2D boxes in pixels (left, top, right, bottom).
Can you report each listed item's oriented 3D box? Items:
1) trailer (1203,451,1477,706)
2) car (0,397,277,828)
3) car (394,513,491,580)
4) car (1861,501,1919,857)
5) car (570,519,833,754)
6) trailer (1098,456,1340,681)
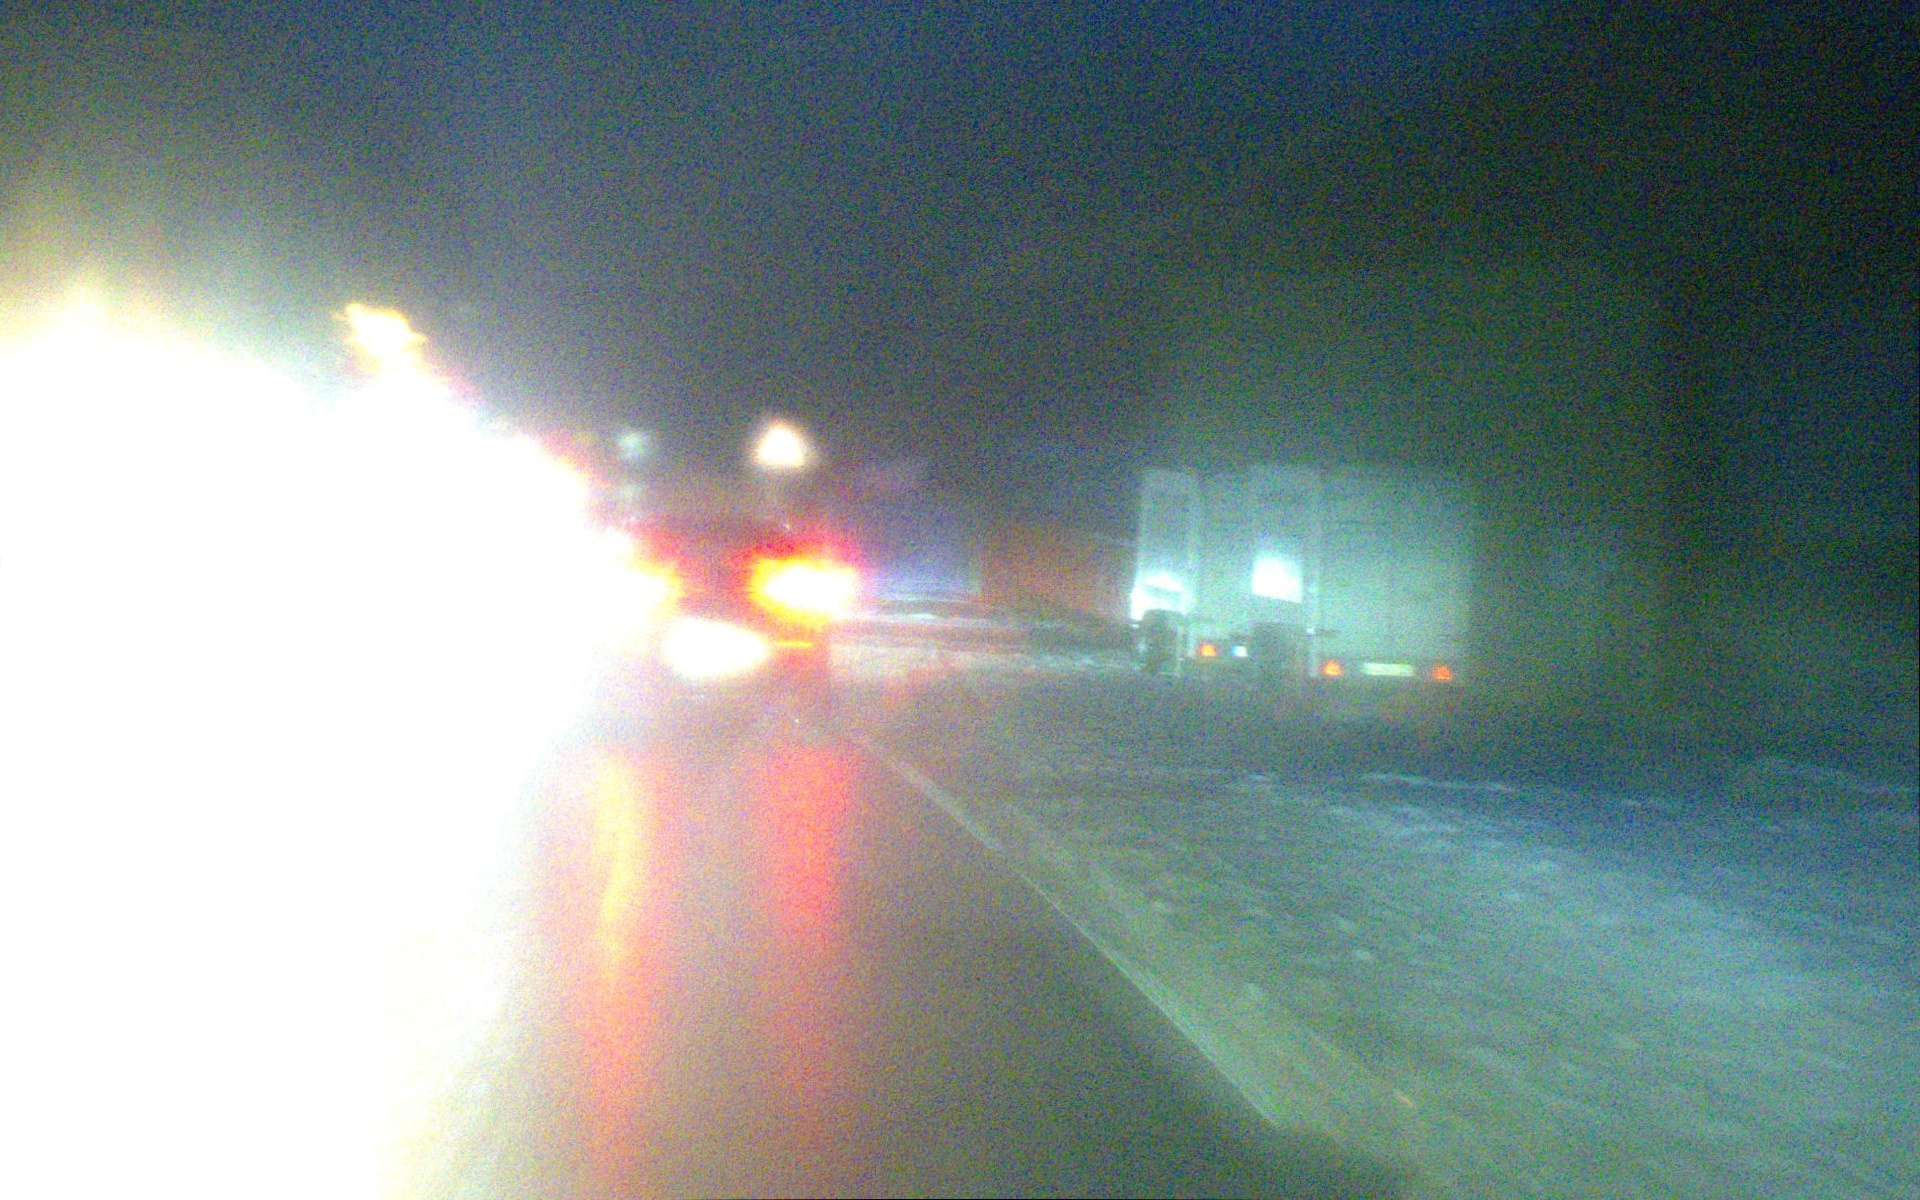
[{"bbox_3d":[3.821,-0.260,35.321,1.605,2.344,4.432,4,1,-8],"label":"trailer"},{"bbox_3d":[-4.981,-0.003,19.009,1.918,2.050,4.889,2,1,-7],"label":"car"},{"bbox_3d":[-11.636,-1.219,77.526,1.993,1.455,4.899,0,1,-7],"label":"car"},{"bbox_3d":[6.683,0.522,18.318,1.877,2.033,4.392,3,1,-10],"label":"car"},{"bbox_3d":[-2.077,0.226,26.771,1.801,1.623,3.616,2,1,-7],"label":"car"},{"bbox_3d":[2.945,-0.405,40.088,1.629,2.356,4.654,4,1,-9],"label":"trailer"}]
